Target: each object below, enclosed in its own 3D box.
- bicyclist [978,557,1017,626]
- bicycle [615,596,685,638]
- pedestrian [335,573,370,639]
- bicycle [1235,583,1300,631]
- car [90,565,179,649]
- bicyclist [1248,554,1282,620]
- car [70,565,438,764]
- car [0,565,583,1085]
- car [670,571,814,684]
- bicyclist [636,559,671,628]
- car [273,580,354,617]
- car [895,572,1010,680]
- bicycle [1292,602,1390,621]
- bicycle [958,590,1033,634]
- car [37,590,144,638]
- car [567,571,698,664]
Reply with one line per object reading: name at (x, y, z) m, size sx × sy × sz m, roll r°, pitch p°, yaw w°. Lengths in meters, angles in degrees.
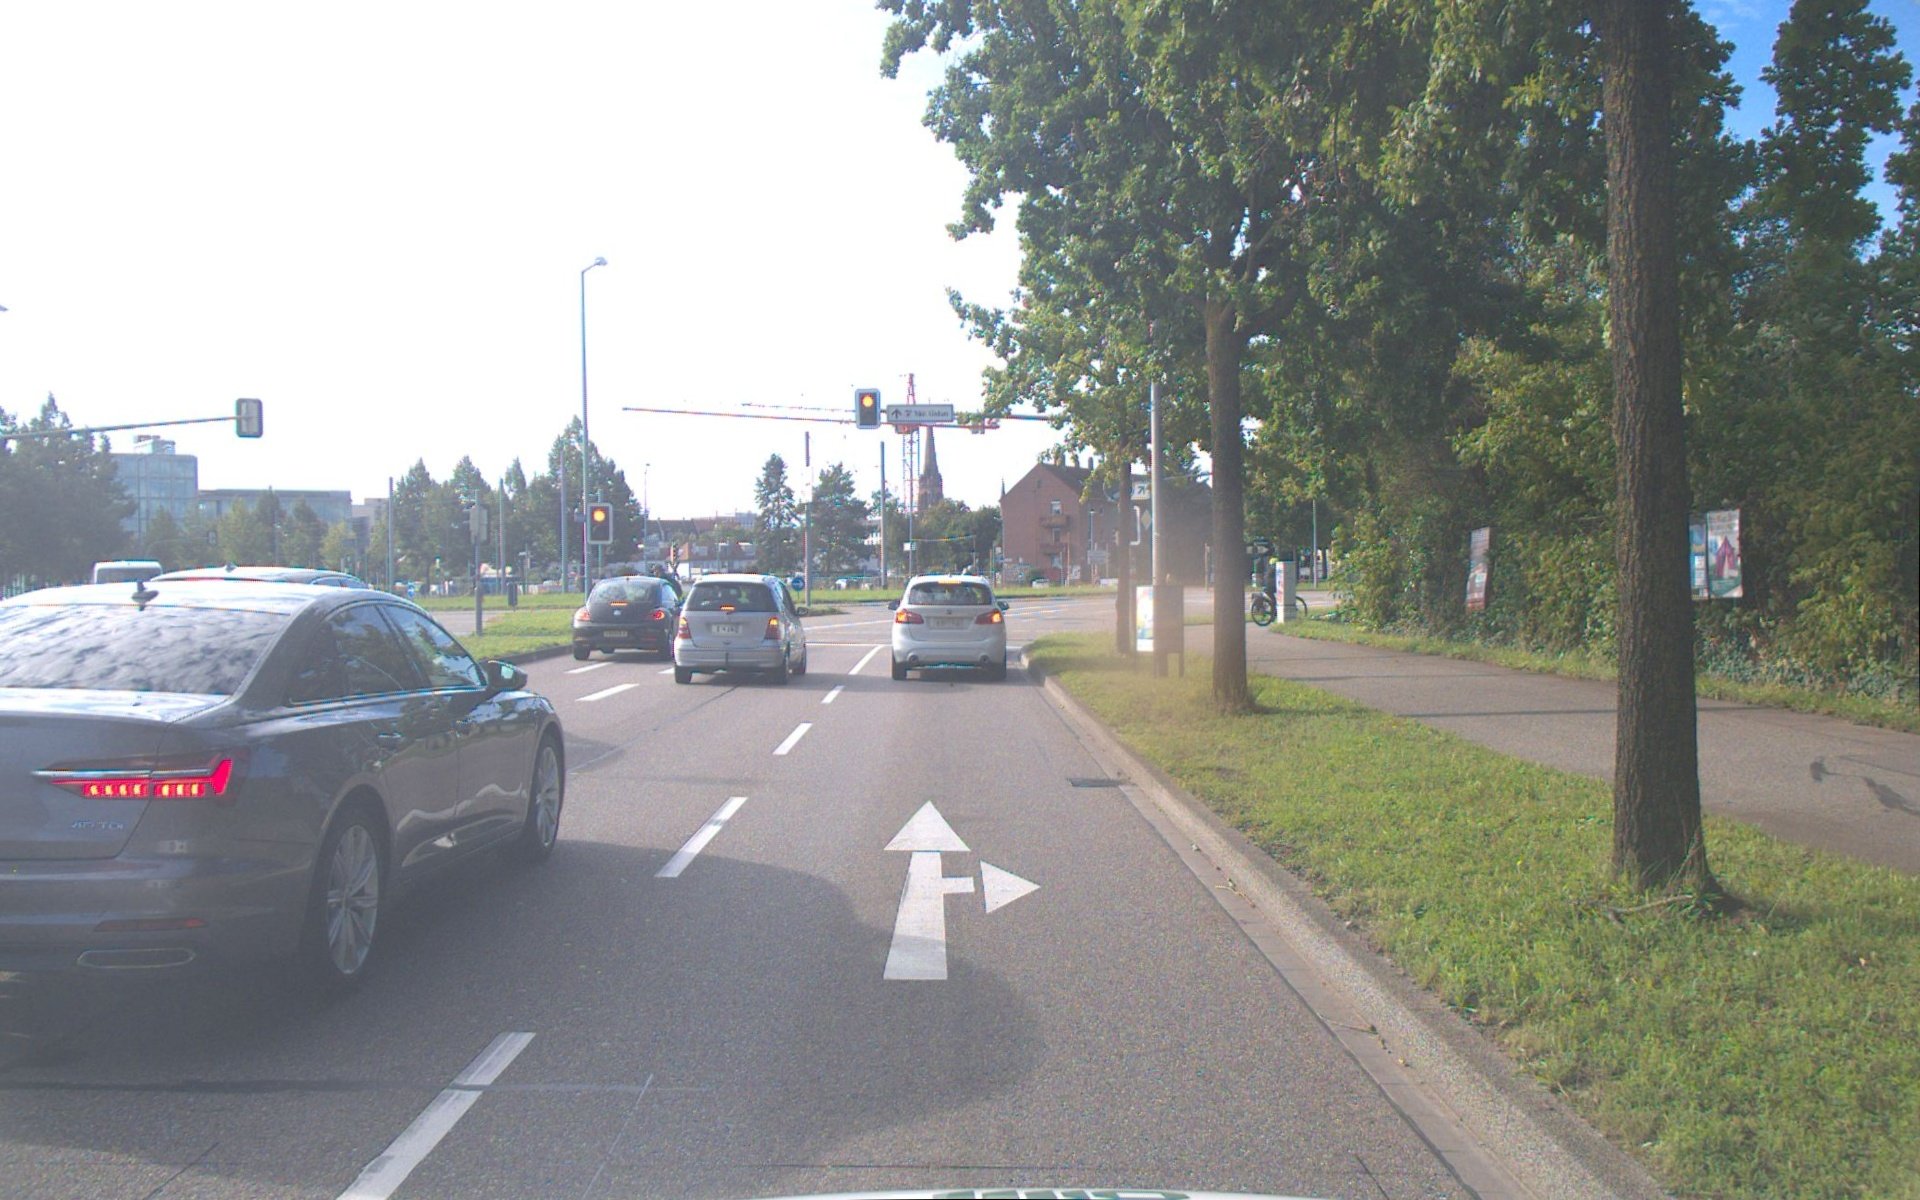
bicyclist at (0.913, -0.208, 40.712) m, size 0.815 × 1.676 × 0.683 m, roll 0°, pitch 0°, yaw -14°
bicycle at (-7.773, 0.423, 41.544) m, size 1.642 × 0.984 × 0.643 m, roll -1°, pitch 0°, yaw -6°
pedestrian at (-14.841, 0.150, 40.417) m, size 0.642 × 1.596 × 0.615 m, roll -1°, pitch 0°, yaw -5°
bicycle at (7.975, 0.182, 42.940) m, size 1.586 × 1.239 × 0.490 m, roll 0°, pitch 0°, yaw -2°
car at (-24.537, 0.207, 49.308) m, size 1.968 × 2.274 × 5.880 m, roll -3°, pitch 1°, yaw -24°
bicyclist at (7.923, -0.345, 42.912) m, size 0.753 × 1.676 × 0.535 m, roll -1°, pitch 1°, yaw -1°
car at (-6.275, 0.490, 15.231) m, size 1.694 × 1.585 × 4.018 m, roll 0°, pitch 1°, yaw -1°
car at (-3.034, 0.635, 7.097) m, size 1.851 × 1.509 × 4.612 m, roll 0°, pitch 0°, yaw -1°
car at (-3.243, 0.358, 25.288) m, size 1.694 × 1.585 × 4.058 m, roll 0°, pitch 1°, yaw -1°
bicyclist at (-7.705, -0.162, 41.544) m, size 0.772 × 1.697 × 0.549 m, roll -1°, pitch 0°, yaw -5°
car at (-37.375, -0.082, 95.691) m, size 1.786 × 2.049 × 4.233 m, roll -2°, pitch 0°, yaw 26°
car at (-0.151, 0.348, 26.440) m, size 1.694 × 1.585 × 4.057 m, roll 0°, pitch 1°, yaw -1°
bicycle at (9.171, 0.271, 39.955) m, size 1.382 × 0.392 × 2.569 m, roll -2°, pitch 1°, yaw -12°
bicycle at (0.866, 0.290, 40.703) m, size 1.740 × 1.068 × 0.708 m, roll 0°, pitch 0°, yaw -13°
car at (-32.216, 0.513, 61.351) m, size 3.131 × 1.601 × 1.570 m, roll -2°, pitch 0°, yaw -11°
car at (-6.041, 0.269, 30.891) m, size 1.686 × 1.592 × 3.877 m, roll 1°, pitch 1°, yaw -1°
